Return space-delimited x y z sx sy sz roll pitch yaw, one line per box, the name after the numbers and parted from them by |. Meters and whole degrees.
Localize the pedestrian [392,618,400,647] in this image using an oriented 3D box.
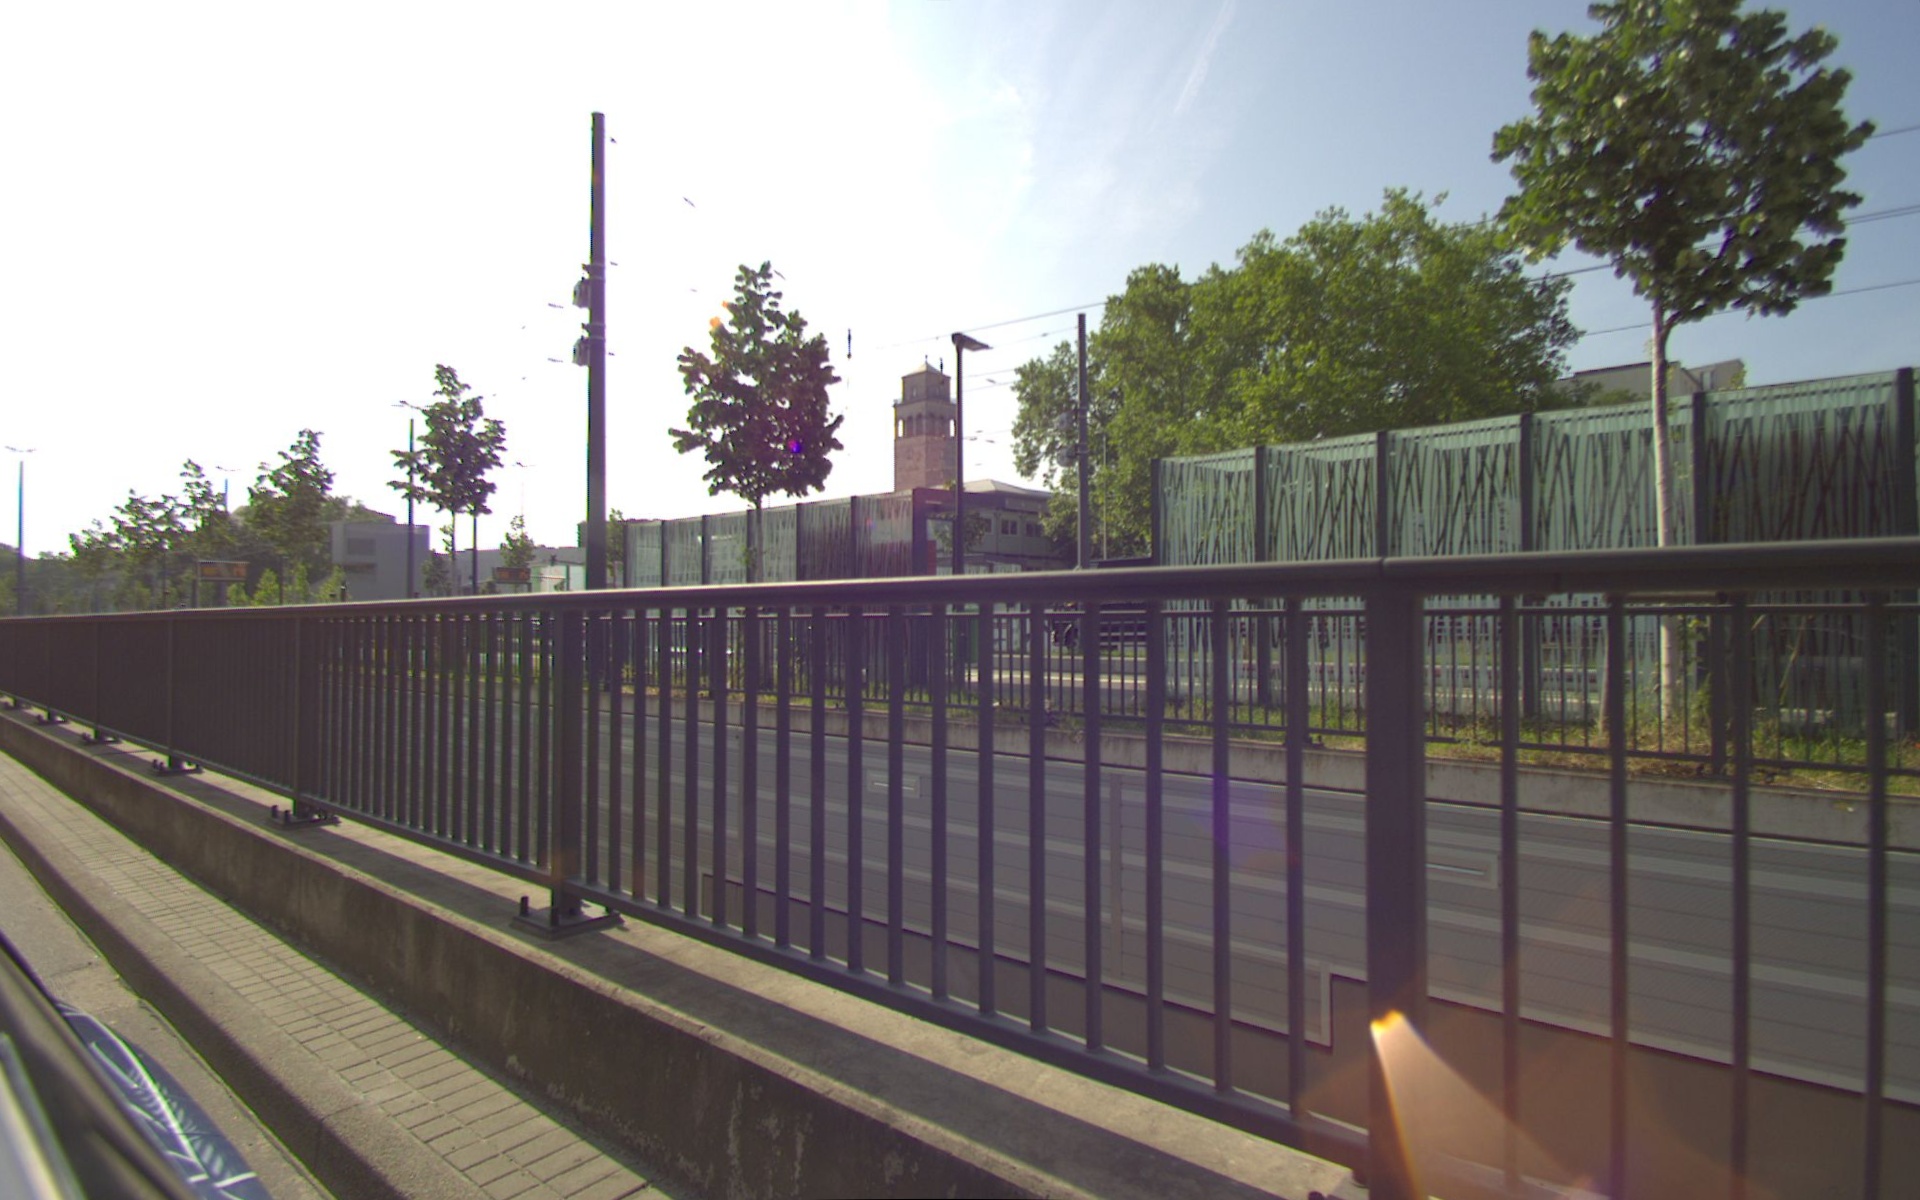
-33.764 1.932 60.613 0.365 1.689 0.642 0 -1 -32 | pedestrian

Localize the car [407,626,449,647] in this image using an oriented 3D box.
-38.374 2.633 73.043 3.432 1.474 1.579 -2 -2 42 | car

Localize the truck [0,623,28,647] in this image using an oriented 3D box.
-155.577 5.711 165.719 10.411 3.838 2.942 -2 -2 39 | truck

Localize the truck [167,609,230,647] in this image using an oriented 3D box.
-75.275 2.773 99.968 8.881 3.614 2.991 -2 -2 39 | truck

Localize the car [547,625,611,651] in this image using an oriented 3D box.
-21.452 2.133 56.908 3.692 1.372 1.705 -2 -1 37 | car

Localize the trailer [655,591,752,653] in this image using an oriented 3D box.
-12.476 1.046 49.015 5.018 2.802 2.024 -1 0 41 | trailer

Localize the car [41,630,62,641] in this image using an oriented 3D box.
-132.692 5.229 147.794 3.996 1.614 1.623 -2 -2 39 | car

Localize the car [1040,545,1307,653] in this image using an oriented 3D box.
7.590 0.058 37.127 9.228 3.539 3.023 -2 -1 41 | car
